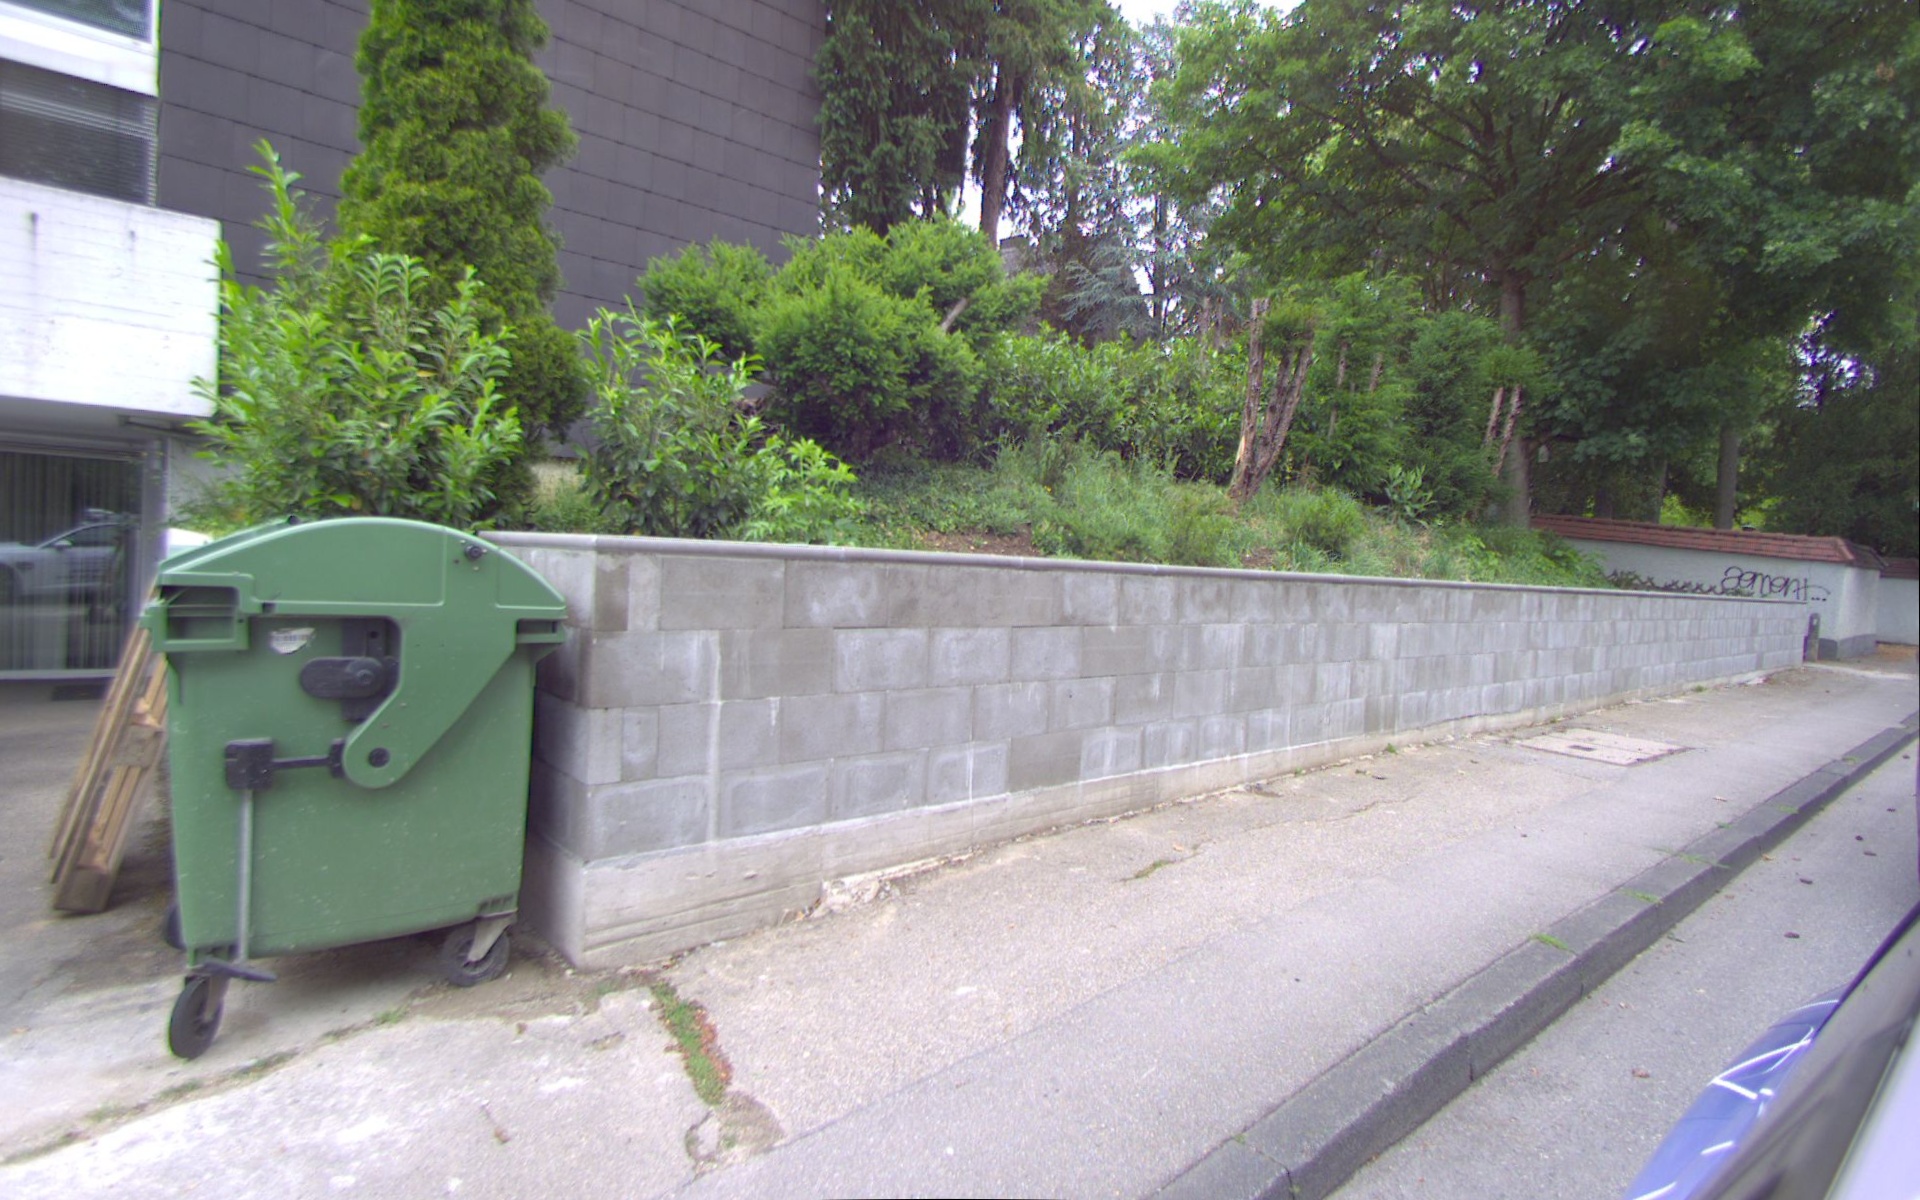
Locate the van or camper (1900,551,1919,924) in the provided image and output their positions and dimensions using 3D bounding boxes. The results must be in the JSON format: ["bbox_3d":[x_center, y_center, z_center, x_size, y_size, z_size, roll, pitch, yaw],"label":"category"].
[{"bbox_3d":[6.110,0.534,4.896,4.125,1.693,1.800,0,3,-41],"label":"van or camper"}]

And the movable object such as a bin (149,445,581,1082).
[{"bbox_3d":[-1.884,0.376,3.176,1.014,1.549,1.037,0,2,-39],"label":"movable object such as a bin"}]
